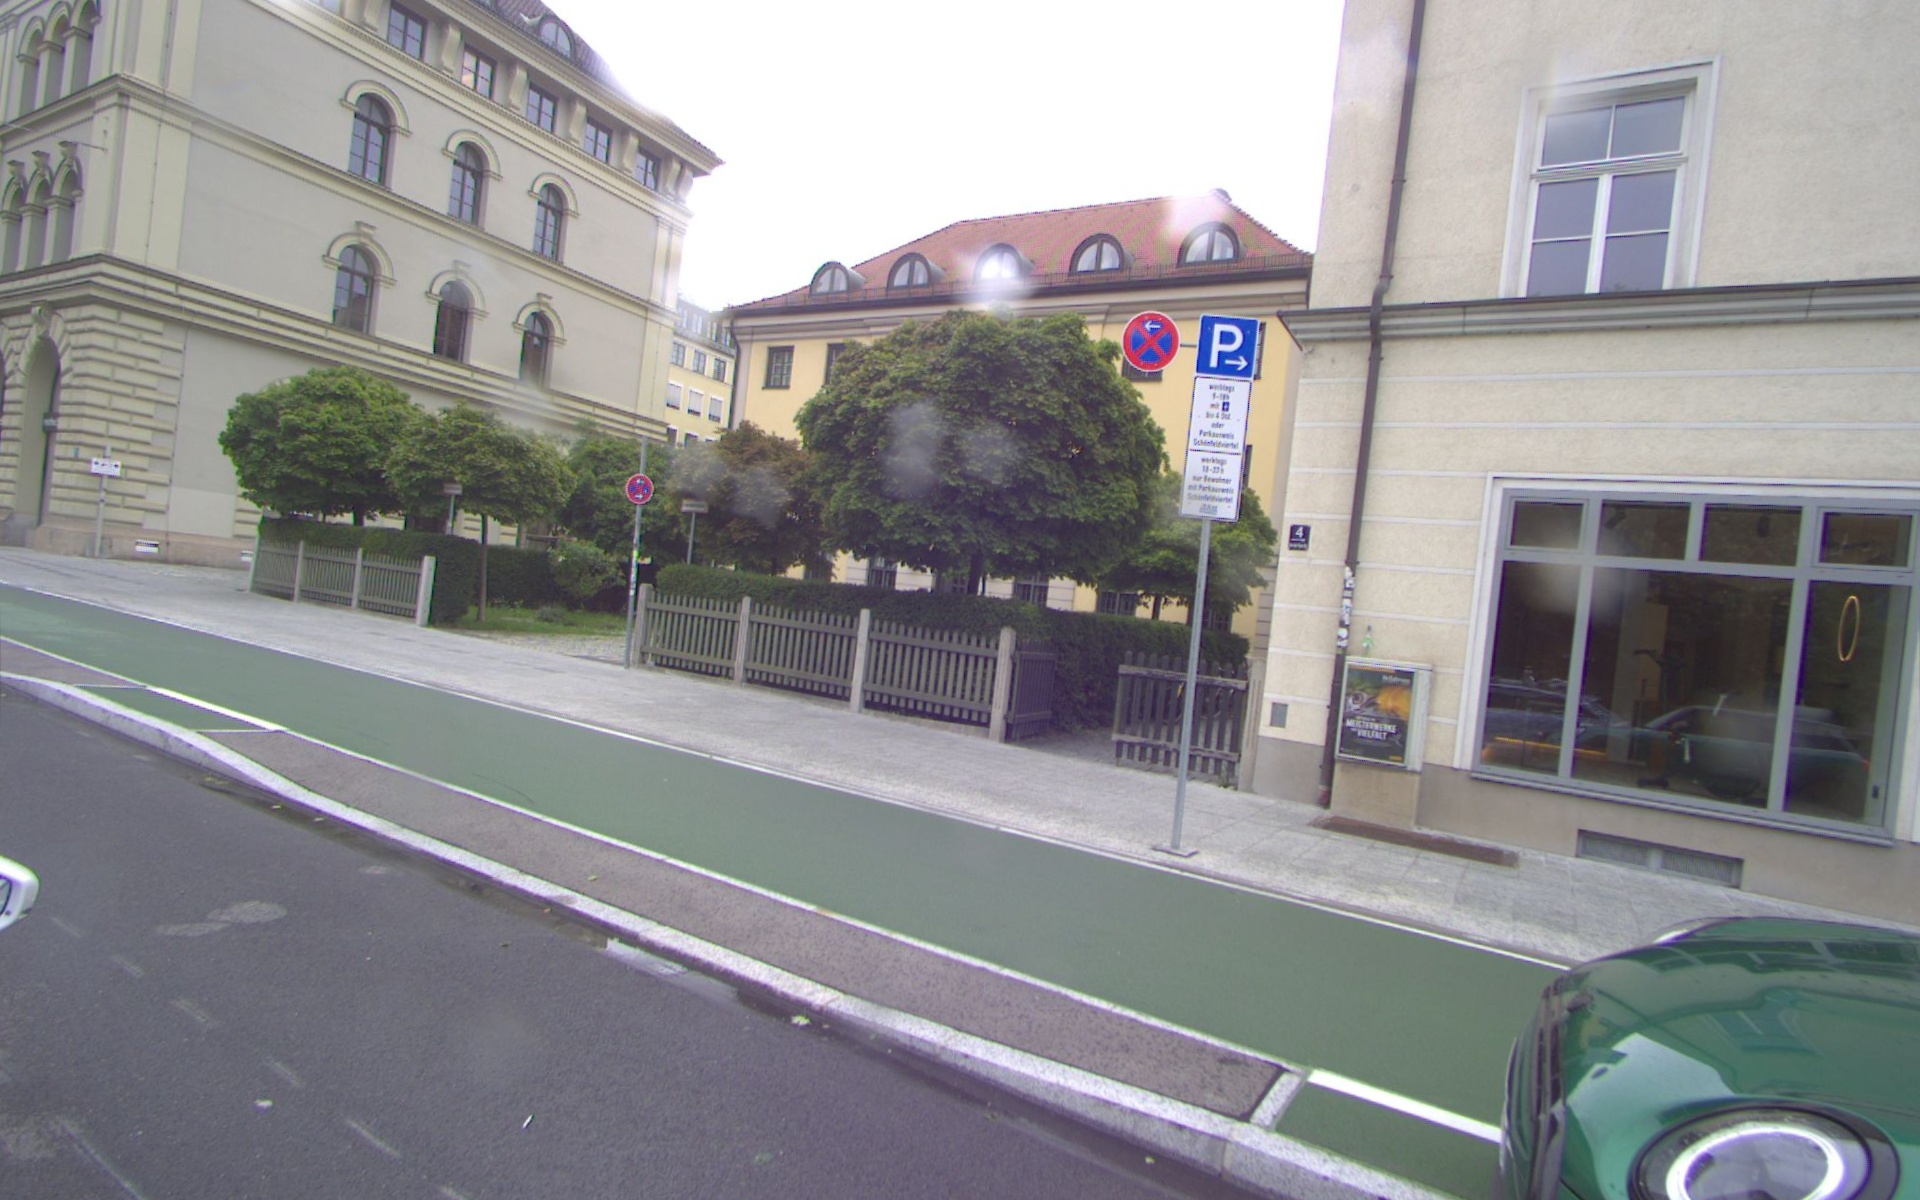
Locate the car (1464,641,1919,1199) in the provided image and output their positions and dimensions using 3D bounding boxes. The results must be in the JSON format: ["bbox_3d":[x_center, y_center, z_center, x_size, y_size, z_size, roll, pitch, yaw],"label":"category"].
[{"bbox_3d":[2.851,1.095,1.333,3.767,1.538,1.678,7,-1,33],"label":"car"}]

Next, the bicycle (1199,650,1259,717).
[{"bbox_3d":[5.034,1.559,18.747,0.512,1.124,1.830,7,0,30],"label":"bicycle"}]

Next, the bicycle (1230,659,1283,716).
[{"bbox_3d":[6.021,1.776,20.384,0.512,1.048,1.830,7,-1,30],"label":"bicycle"}]

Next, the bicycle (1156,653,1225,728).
[{"bbox_3d":[3.899,1.515,16.910,0.512,1.130,1.830,7,0,30],"label":"bicycle"}]
